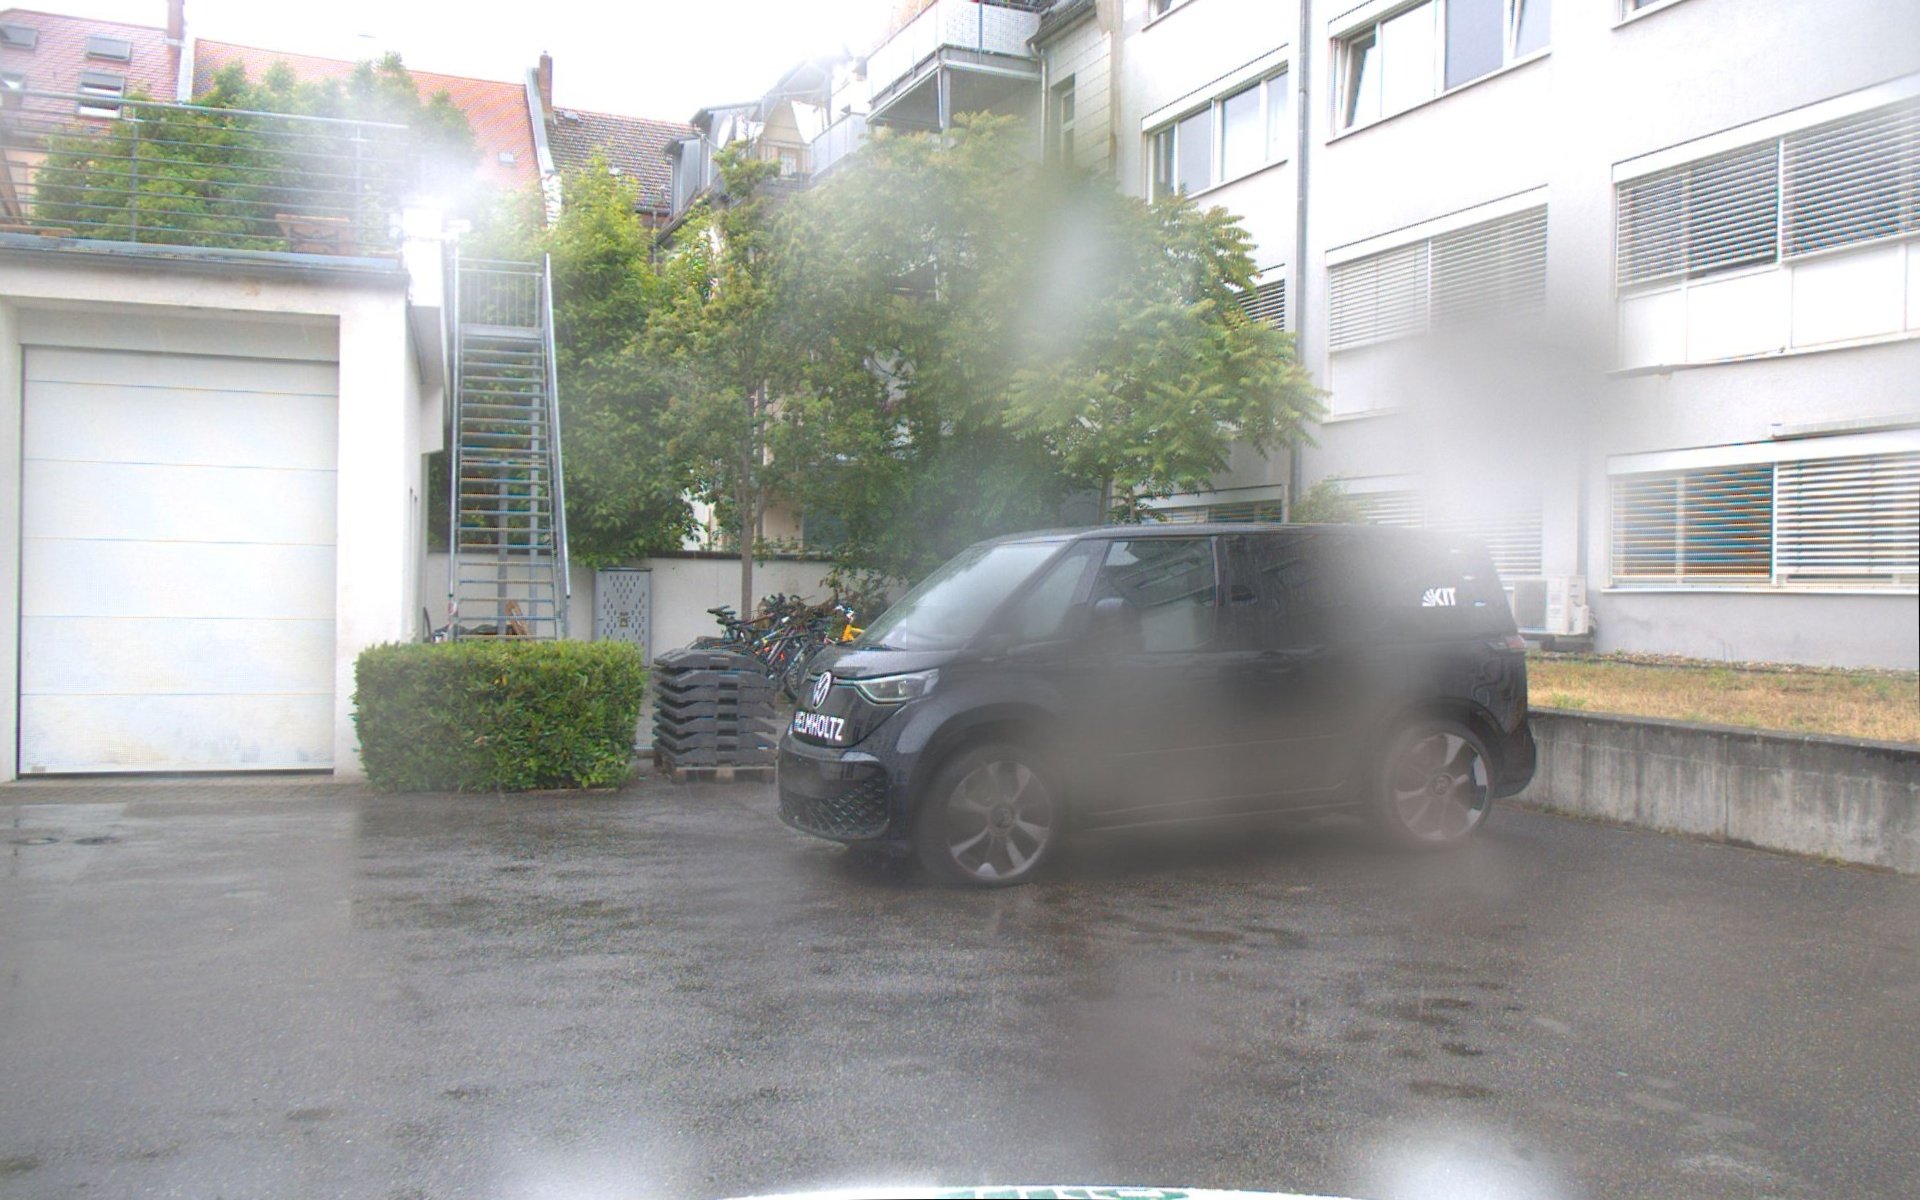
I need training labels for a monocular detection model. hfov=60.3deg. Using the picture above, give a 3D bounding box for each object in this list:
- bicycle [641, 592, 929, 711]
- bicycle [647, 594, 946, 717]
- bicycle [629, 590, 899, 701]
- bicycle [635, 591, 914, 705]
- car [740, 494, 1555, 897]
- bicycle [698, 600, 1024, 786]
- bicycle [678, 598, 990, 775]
[{"bbox_3d":[-1.935,0.557,18.518,3.167,1.263,0.627,0,0,-21],"label":"bicycle"},{"bbox_3d":[-1.740,0.574,17.848,3.167,1.263,0.627,0,0,-21],"label":"bicycle"},{"bbox_3d":[-2.322,0.525,19.779,3.167,1.263,0.627,0,0,-21],"label":"bicycle"},{"bbox_3d":[-2.129,0.541,19.159,3.167,1.263,0.627,0,0,-21],"label":"bicycle"},{"bbox_3d":[1.129,0.463,9.819,4.452,1.930,2.030,0,0,-26],"label":"car"},{"bbox_3d":[-0.950,0.876,16.282,3.167,1.732,0.627,0,-1,-21],"label":"bicycle"},{"bbox_3d":[-1.271,0.853,17.064,3.167,1.732,0.627,0,-1,-21],"label":"bicycle"}]
